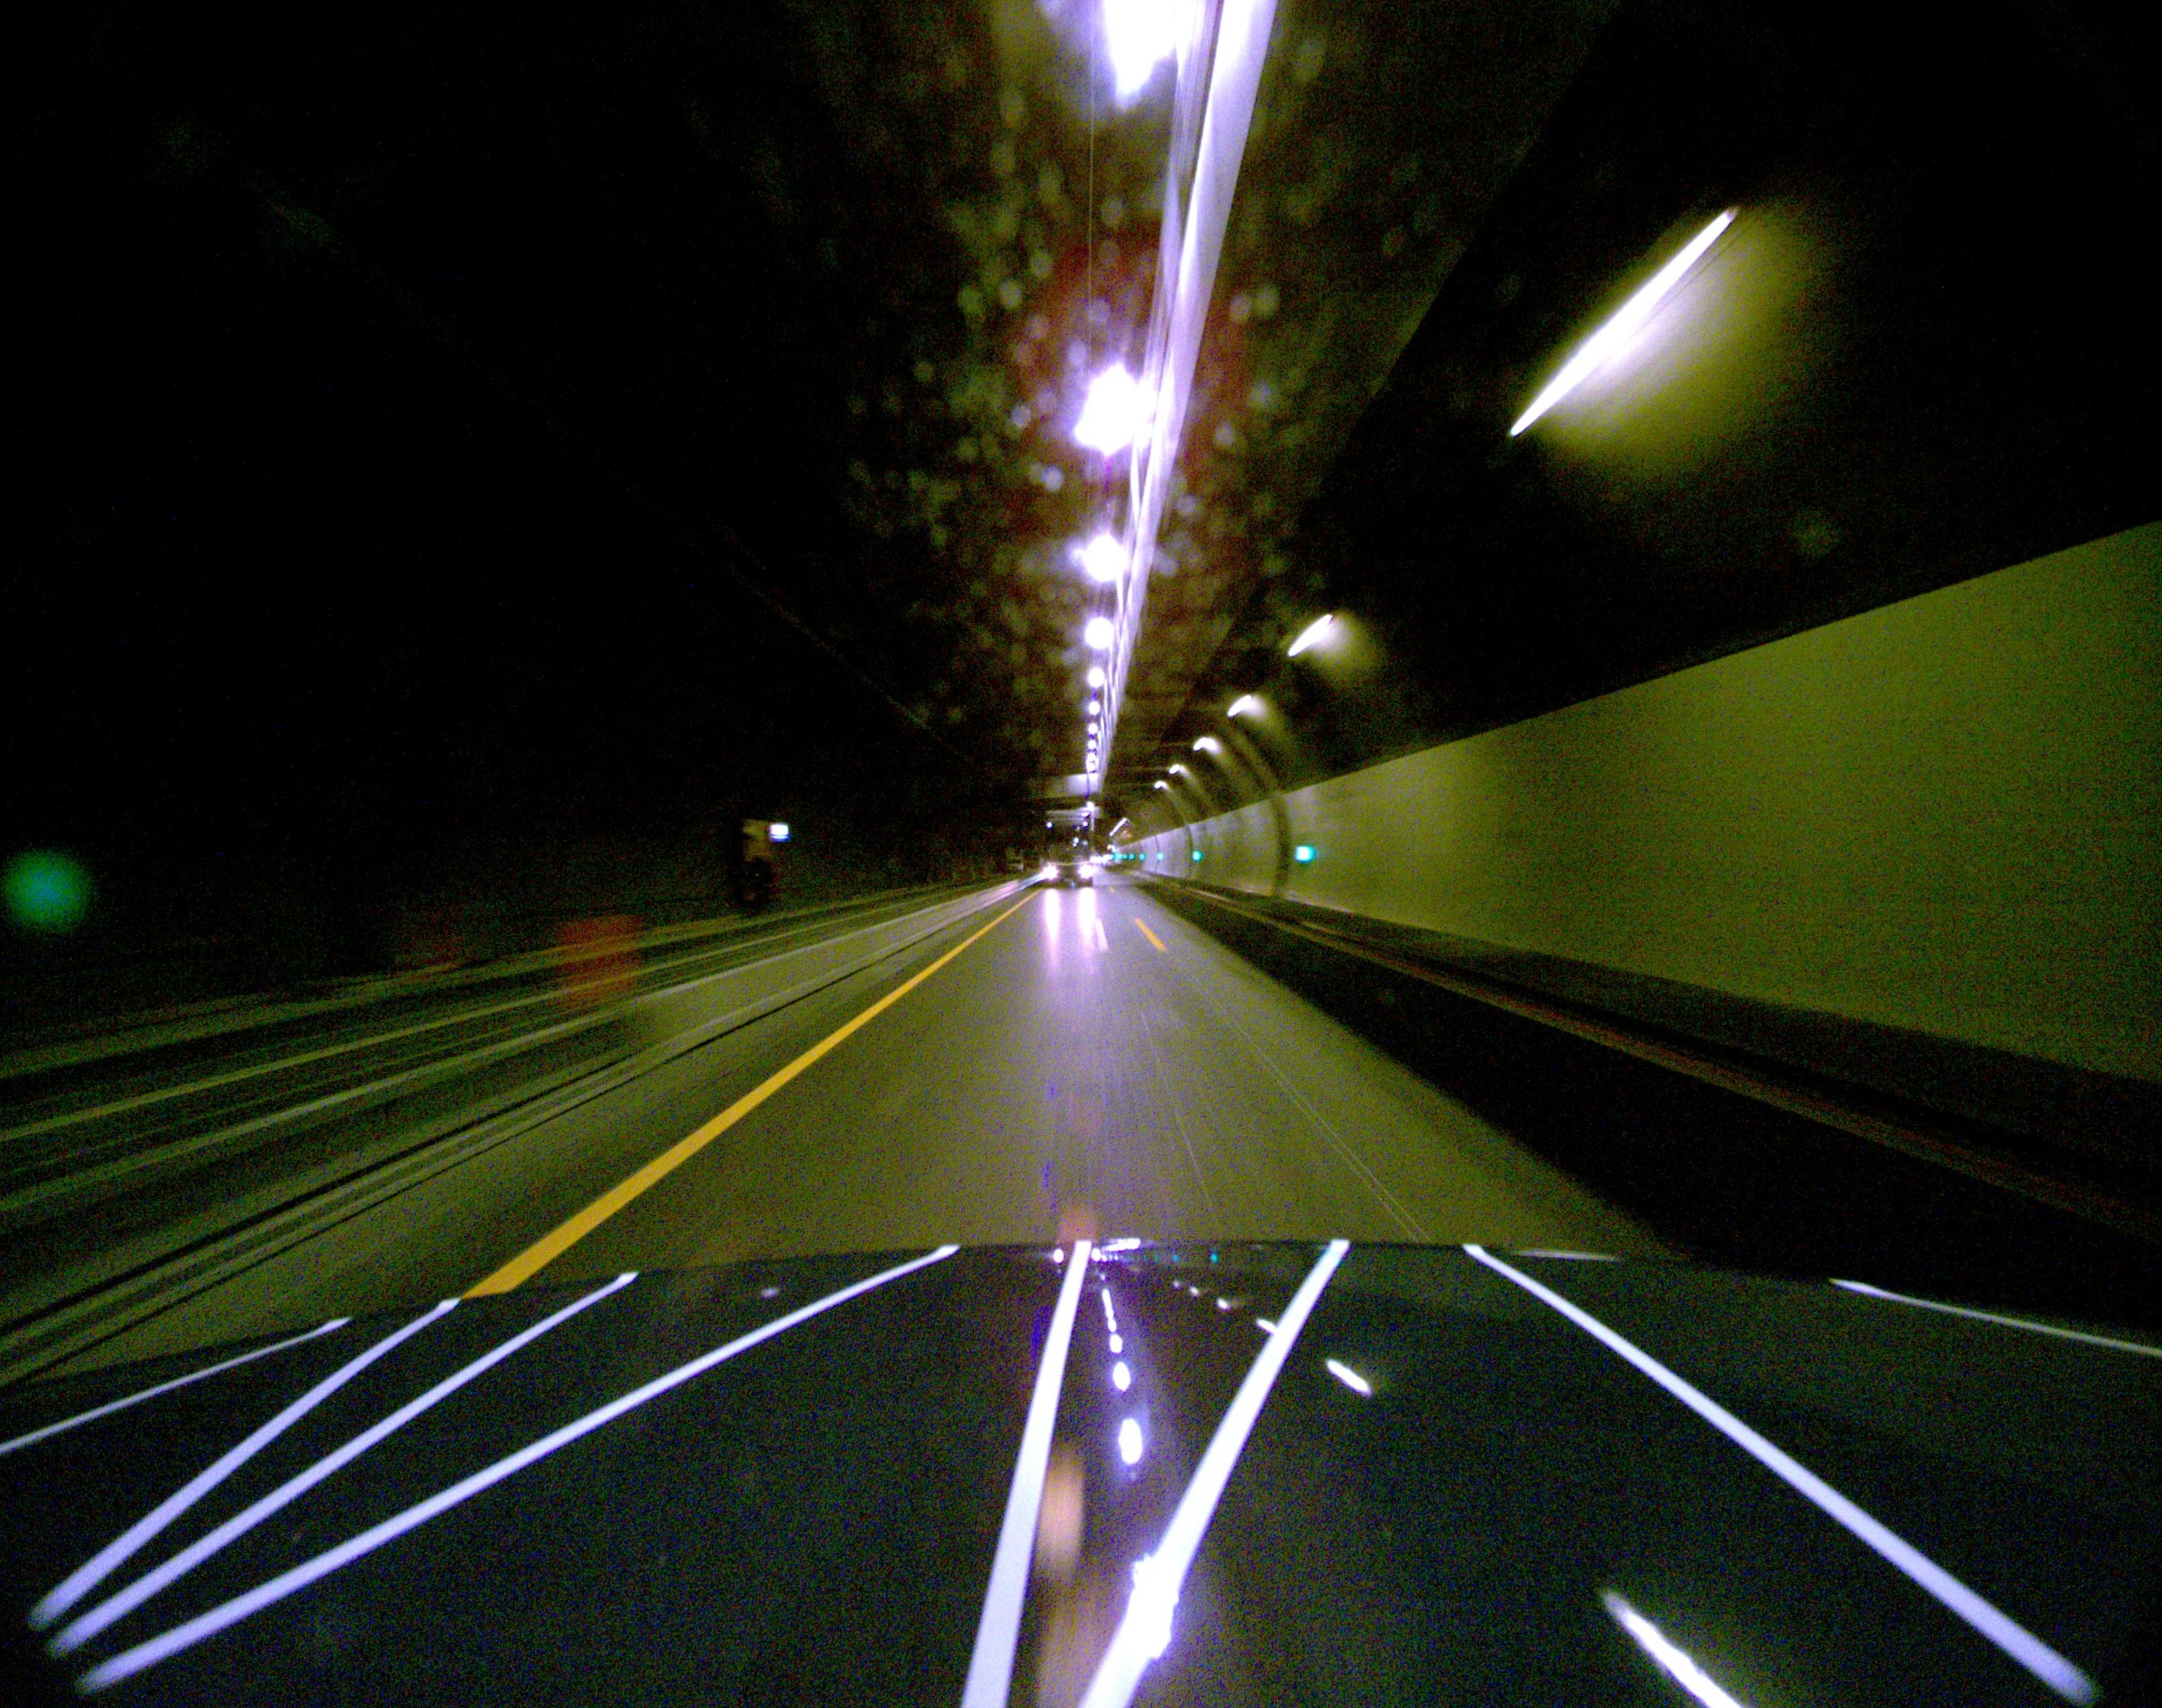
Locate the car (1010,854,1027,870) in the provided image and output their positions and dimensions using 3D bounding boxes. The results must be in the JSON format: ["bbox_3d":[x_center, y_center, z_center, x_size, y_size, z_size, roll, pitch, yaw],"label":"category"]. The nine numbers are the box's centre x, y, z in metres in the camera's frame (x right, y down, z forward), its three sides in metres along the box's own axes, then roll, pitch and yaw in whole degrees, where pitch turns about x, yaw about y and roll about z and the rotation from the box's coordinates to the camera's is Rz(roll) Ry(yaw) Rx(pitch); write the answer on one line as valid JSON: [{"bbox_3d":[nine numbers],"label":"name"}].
[{"bbox_3d":[-7.136,0.899,87.220,1.756,1.834,4.644,-1,0,-3],"label":"car"}]

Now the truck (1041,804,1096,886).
[{"bbox_3d":[-0.552,-0.489,43.529,2.769,4.198,7.977,-1,0,1],"label":"truck"}]

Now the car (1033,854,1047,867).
[{"bbox_3d":[-6.294,0.935,117.256,1.832,1.848,5.441,-3,0,-1],"label":"car"}]
